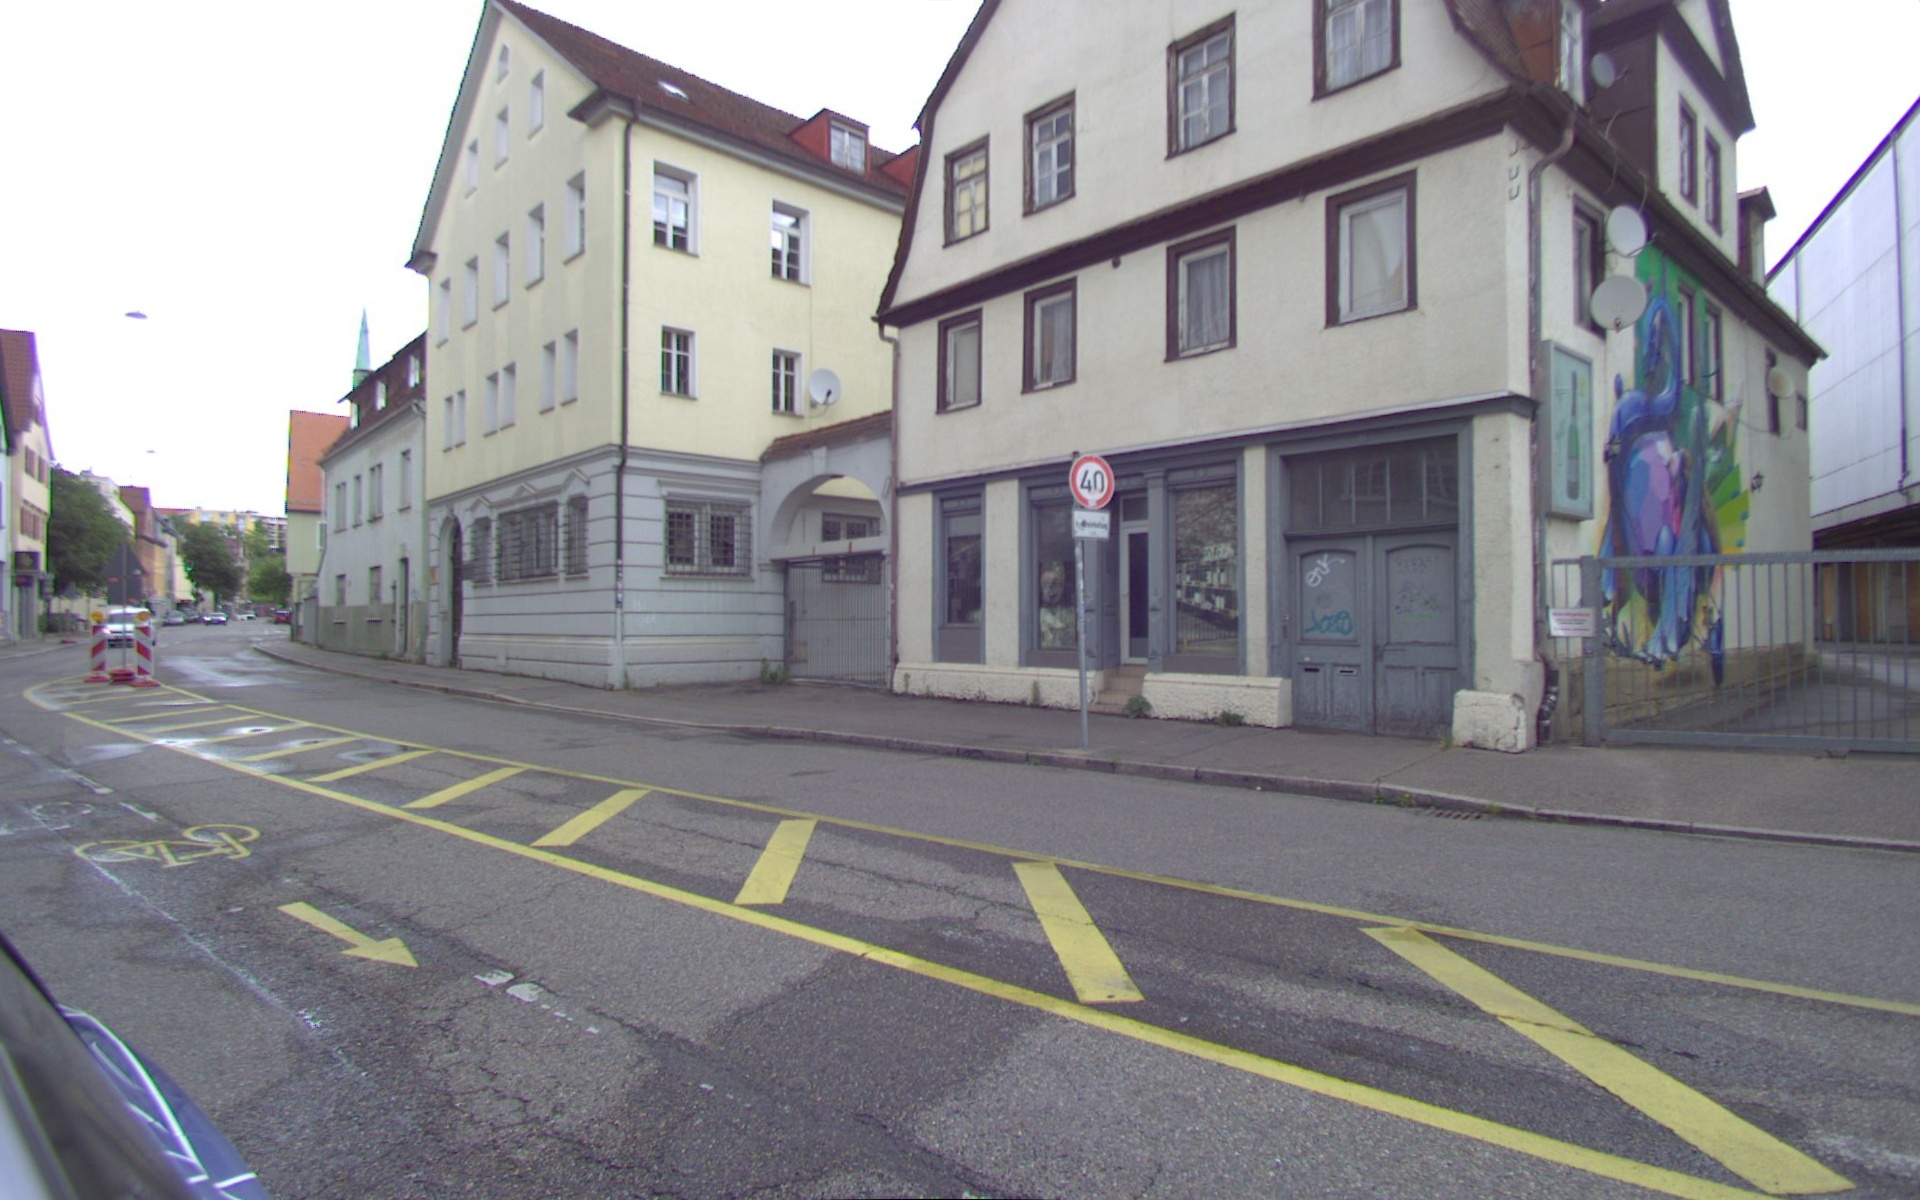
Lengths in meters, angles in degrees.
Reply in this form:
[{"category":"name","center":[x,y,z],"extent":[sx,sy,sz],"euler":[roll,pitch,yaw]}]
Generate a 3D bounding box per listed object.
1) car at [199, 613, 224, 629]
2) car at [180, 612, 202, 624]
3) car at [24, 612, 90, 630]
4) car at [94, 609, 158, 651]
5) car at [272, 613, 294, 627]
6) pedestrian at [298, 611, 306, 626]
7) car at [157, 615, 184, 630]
[{"category":"car","center":[-81.574,2.253,110.328],"extent":[1.967,1.691,4.010],"euler":[0,0,-34]},{"category":"car","center":[-96.595,2.271,127.163],"extent":[1.792,1.399,4.011],"euler":[2,-2,-32]},{"category":"car","center":[-77.423,1.821,86.857],"extent":[3.932,1.475,2.006],"euler":[0,0,-33]},{"category":"car","center":[-38.347,1.344,46.639],"extent":[1.967,1.800,4.478],"euler":[2,-1,-36]},{"category":"car","center":[-85.883,2.559,128.385],"extent":[2.178,1.690,4.509],"euler":[2,-2,-36]},{"category":"pedestrian","center":[-85.791,2.410,131.979],"extent":[0.823,2.029,0.847],"euler":[1,-2,-36]},{"category":"car","center":[-84.970,2.386,108.956],"extent":[2.001,1.567,4.010],"euler":[2,-2,-35]}]
